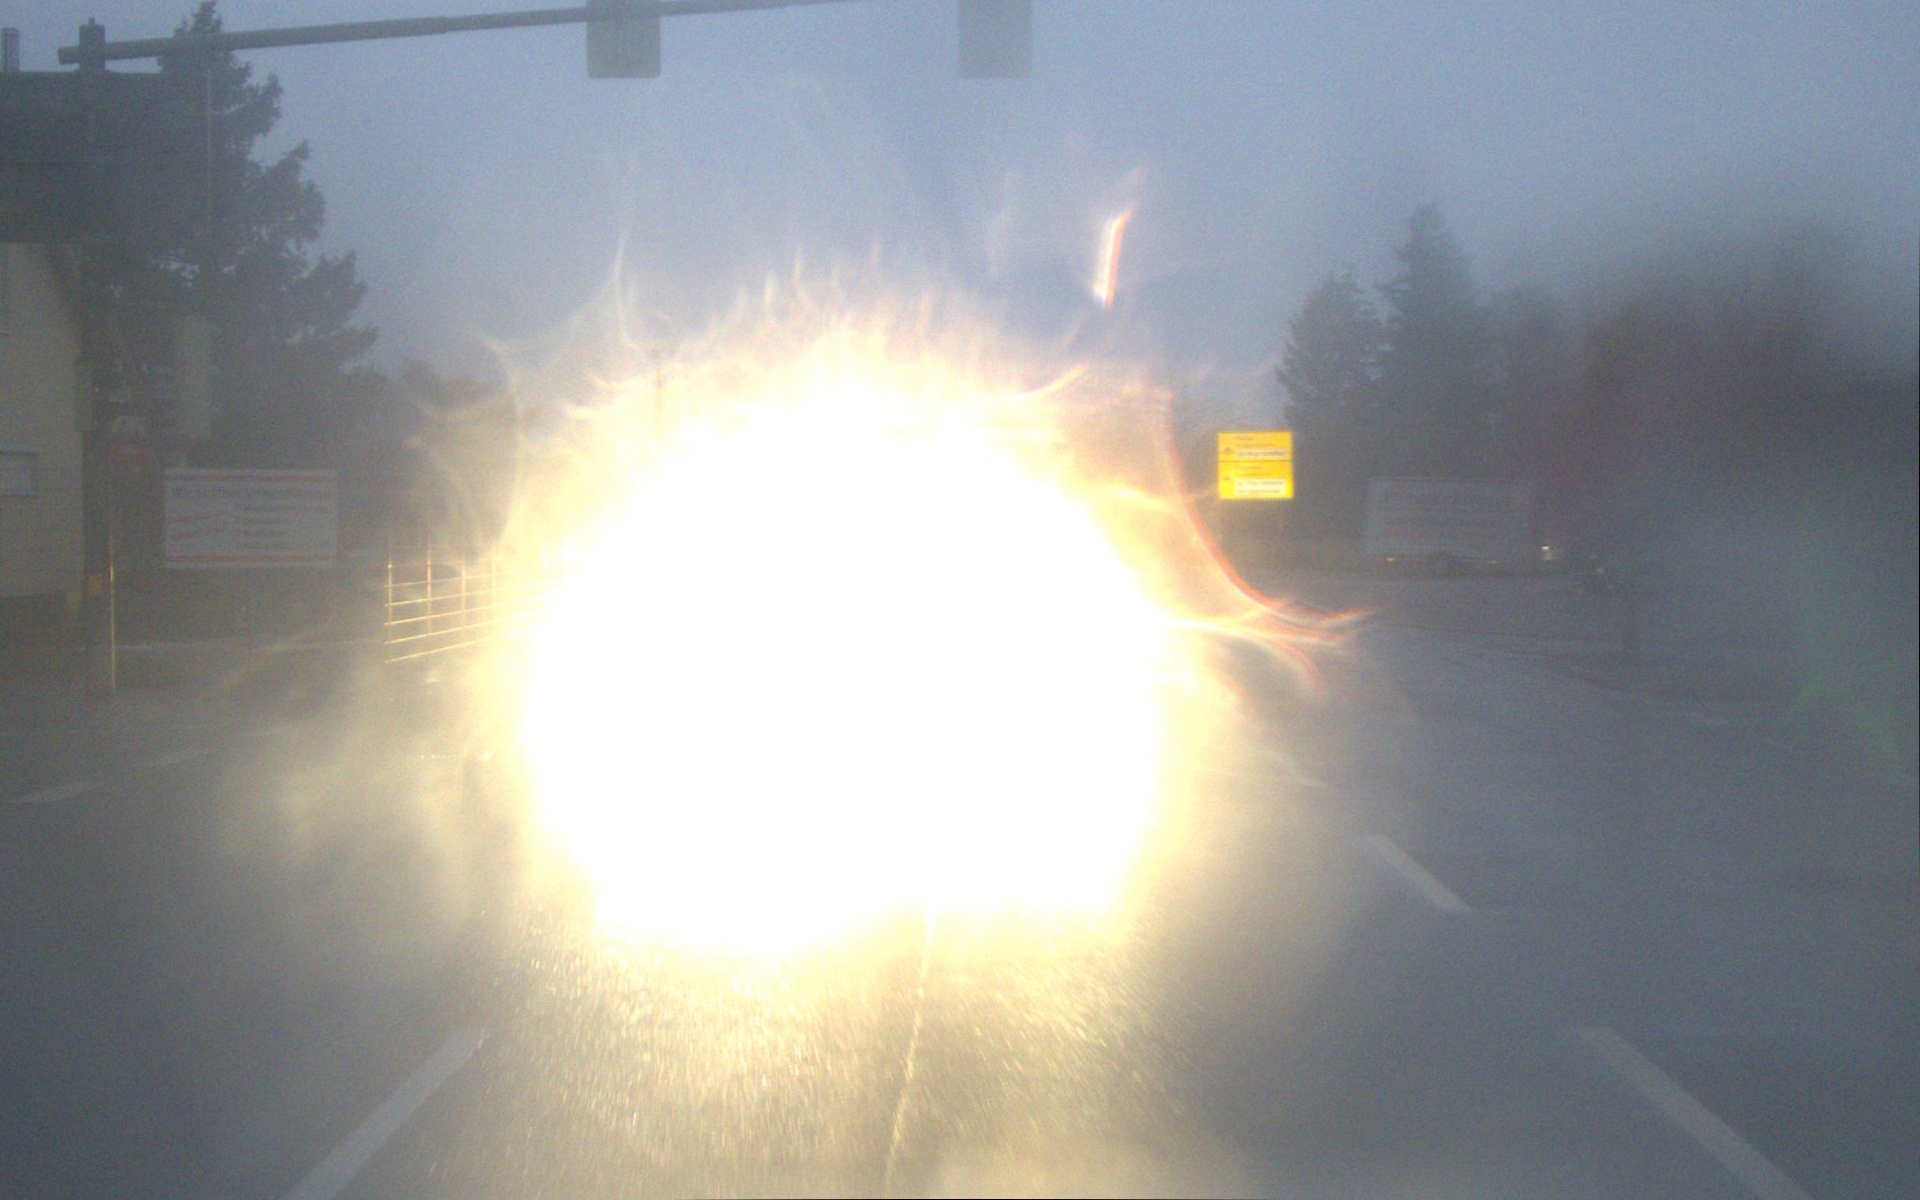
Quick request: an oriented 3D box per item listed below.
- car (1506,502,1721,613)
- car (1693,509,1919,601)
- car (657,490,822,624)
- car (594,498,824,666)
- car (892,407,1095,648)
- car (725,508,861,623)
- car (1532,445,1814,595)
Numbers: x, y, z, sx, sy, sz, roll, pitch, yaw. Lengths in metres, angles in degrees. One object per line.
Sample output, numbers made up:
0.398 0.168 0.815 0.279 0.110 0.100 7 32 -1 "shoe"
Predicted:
12.696 -0.829 66.841 3.989 2.007 1.999 -2 1 11 "car"
15.809 -0.835 62.806 4.527 1.525 1.777 -2 1 6 "car"
-2.987 -0.625 47.305 1.827 1.763 3.753 0 2 3 "car"
-2.744 -0.243 38.475 1.994 1.740 4.000 -1 1 4 "car"
0.424 -0.963 45.332 2.401 2.882 6.251 2 1 0 "car"
-2.588 -0.540 54.148 1.721 1.717 3.928 -1 1 3 "car"
14.494 -1.628 69.995 5.251 2.860 1.777 -2 1 -6 "car"
